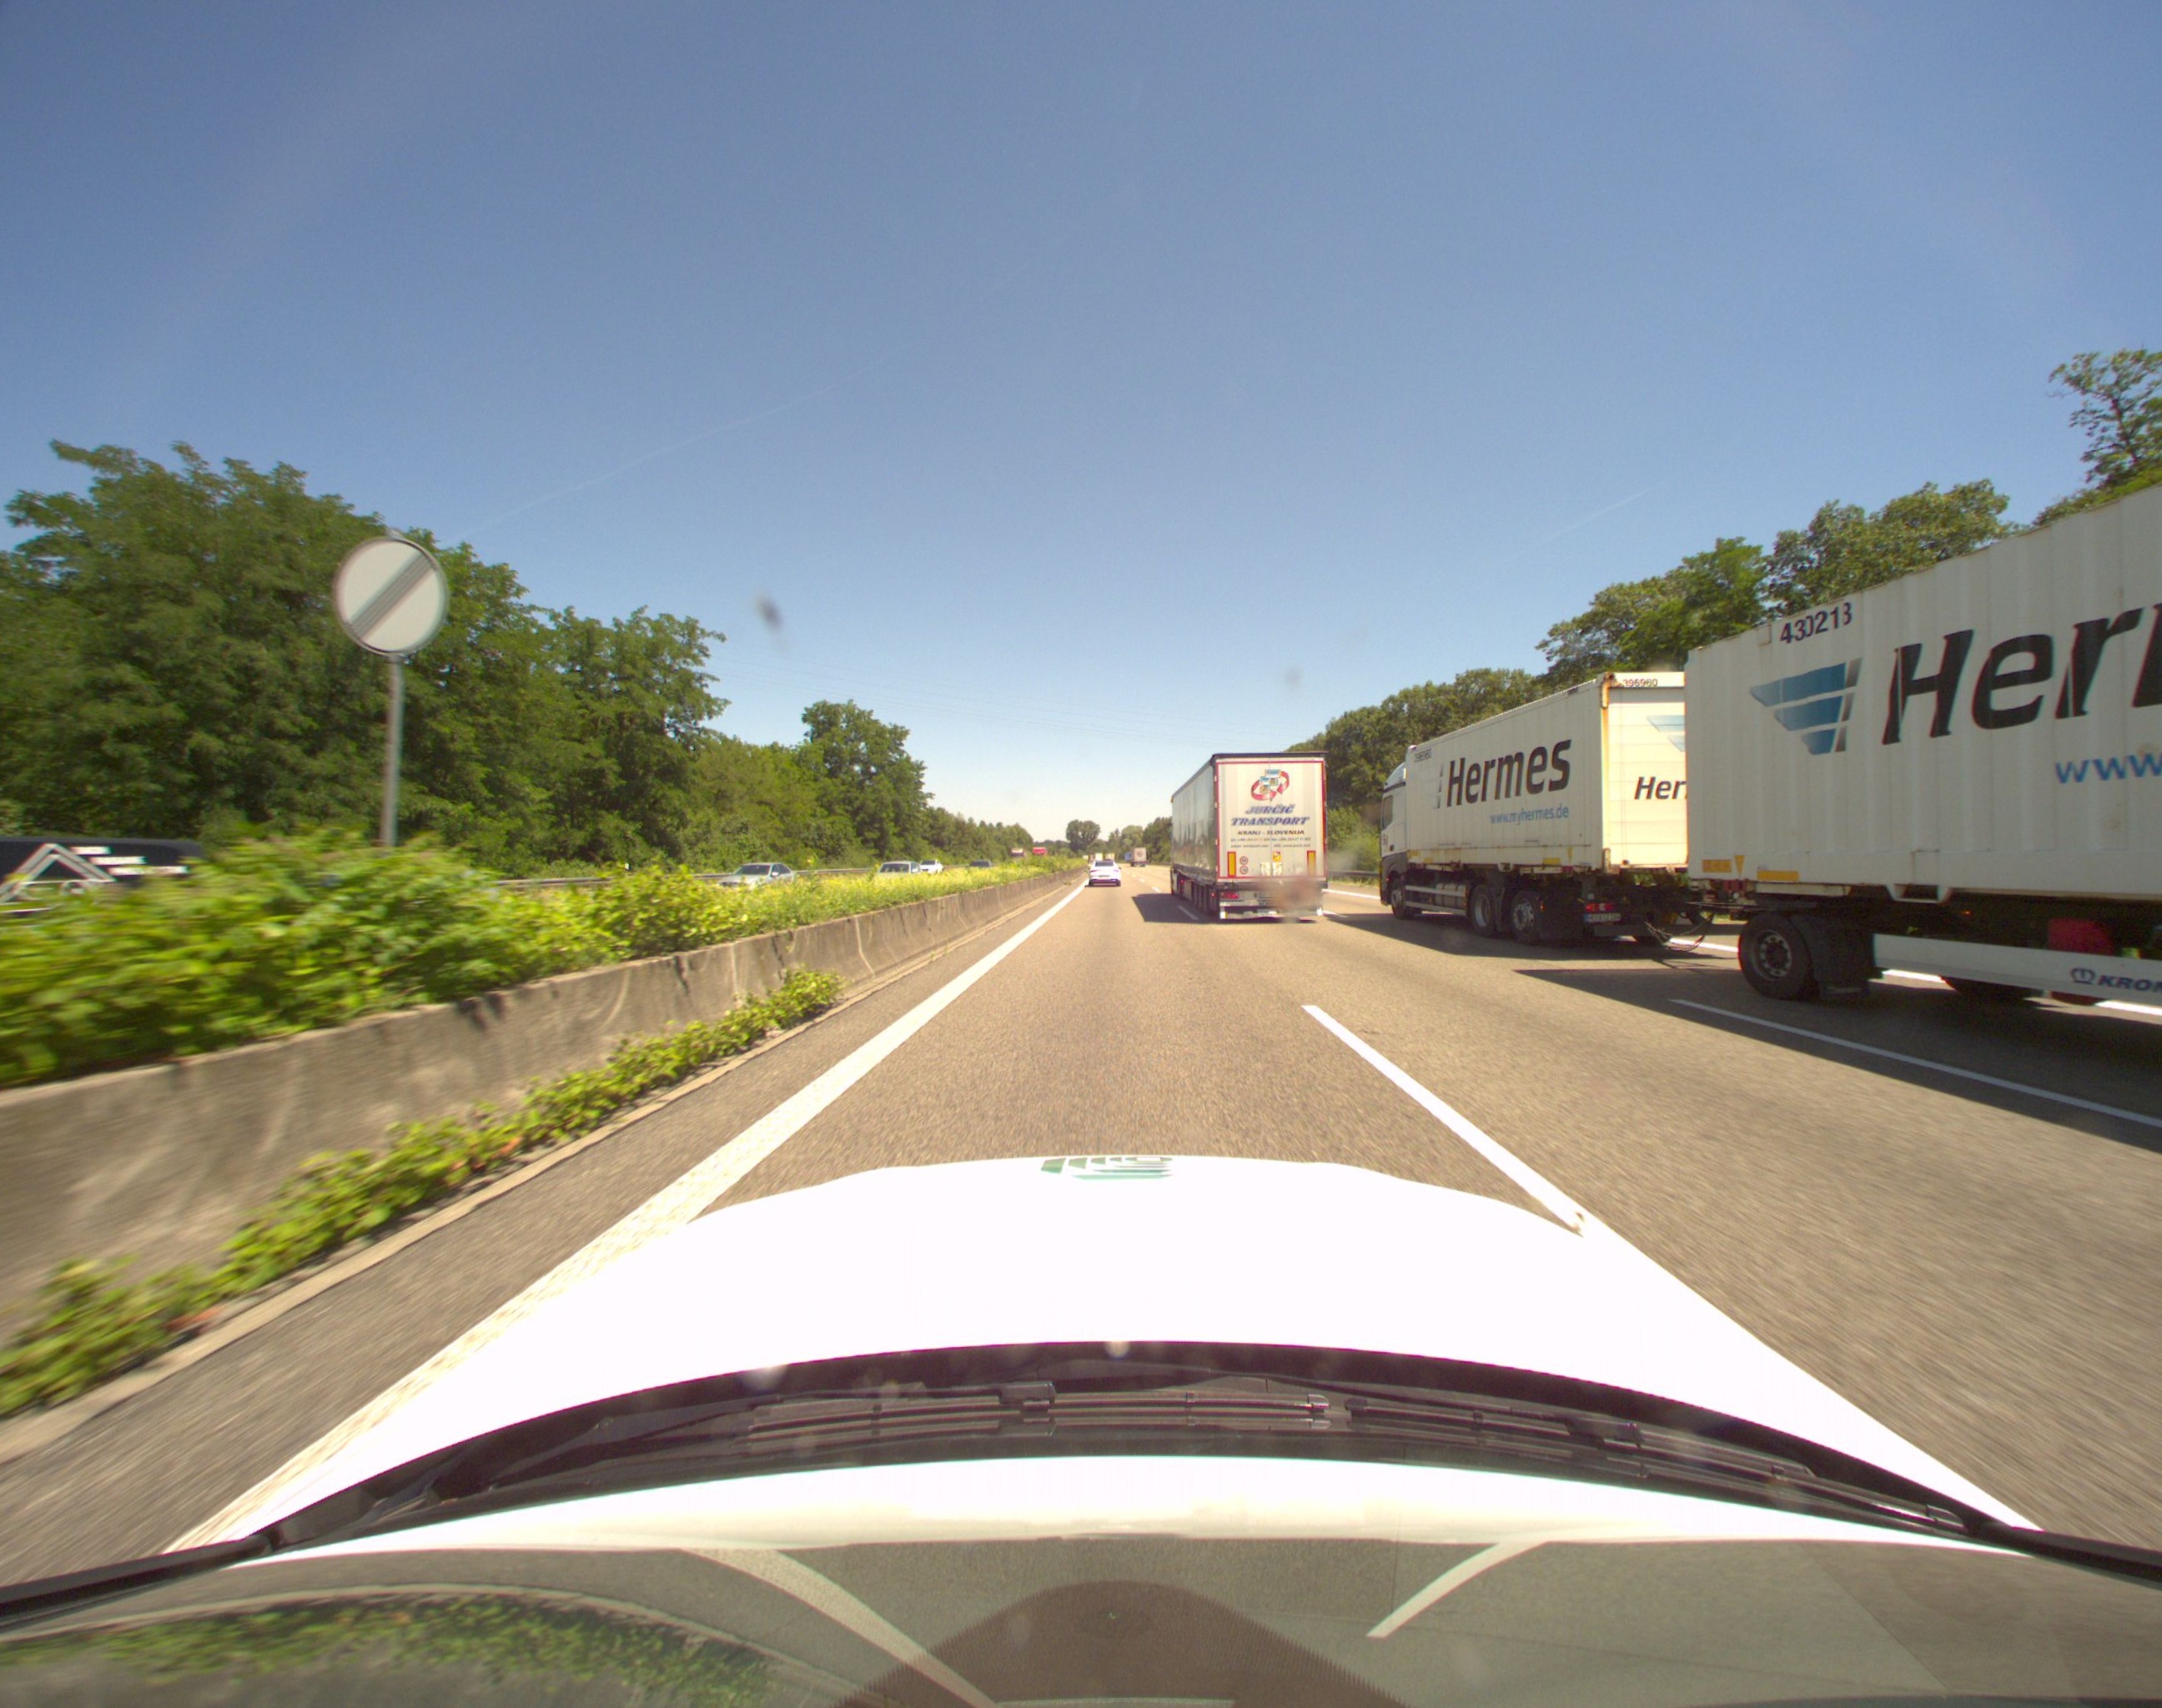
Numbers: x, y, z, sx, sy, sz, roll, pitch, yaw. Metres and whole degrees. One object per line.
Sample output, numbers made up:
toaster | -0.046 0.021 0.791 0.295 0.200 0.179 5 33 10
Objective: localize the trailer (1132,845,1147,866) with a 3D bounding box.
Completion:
trailer | 12.516 0.432 175.532 2.614 4.261 14.065 0 0 2

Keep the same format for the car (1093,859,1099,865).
car | 4.216 2.320 234.519 1.718 1.783 4.000 -1 0 1

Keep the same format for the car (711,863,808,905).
car | -12.237 1.085 31.339 1.690 1.475 4.722 0 0 2

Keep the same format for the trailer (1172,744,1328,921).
trailer | 4.563 -0.427 25.148 2.728 3.975 13.665 -1 0 3

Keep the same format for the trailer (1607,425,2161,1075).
trailer | 8.028 -0.653 5.091 2.545 4.060 11.268 0 -1 2

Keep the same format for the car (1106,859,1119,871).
car | 5.236 1.810 134.858 1.986 1.772 4.002 -1 0 2

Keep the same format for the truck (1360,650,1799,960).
truck | 8.468 -0.613 16.207 2.517 4.130 10.674 0 -1 2

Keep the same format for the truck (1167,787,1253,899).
truck | 4.966 -0.370 32.514 2.711 3.975 6.506 -1 -1 3

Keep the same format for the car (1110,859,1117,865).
car | 8.975 2.262 223.145 1.717 1.585 4.001 -1 0 1

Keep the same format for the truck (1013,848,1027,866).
truck | -12.144 0.669 163.226 2.349 3.601 4.163 -1 -1 0

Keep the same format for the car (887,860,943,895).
car | -7.488 1.044 37.057 1.641 1.509 3.468 -1 0 3

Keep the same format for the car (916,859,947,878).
car | -13.673 1.282 74.907 1.807 1.686 4.764 -1 0 2

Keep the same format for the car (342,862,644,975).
car | -8.482 0.837 12.266 1.644 1.398 3.999 0 -1 0

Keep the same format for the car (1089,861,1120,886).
car | 1.366 1.070 46.734 1.708 1.369 3.377 0 -1 2

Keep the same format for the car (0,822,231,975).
car | -13.895 0.548 9.973 1.690 1.843 4.891 0 -1 2
